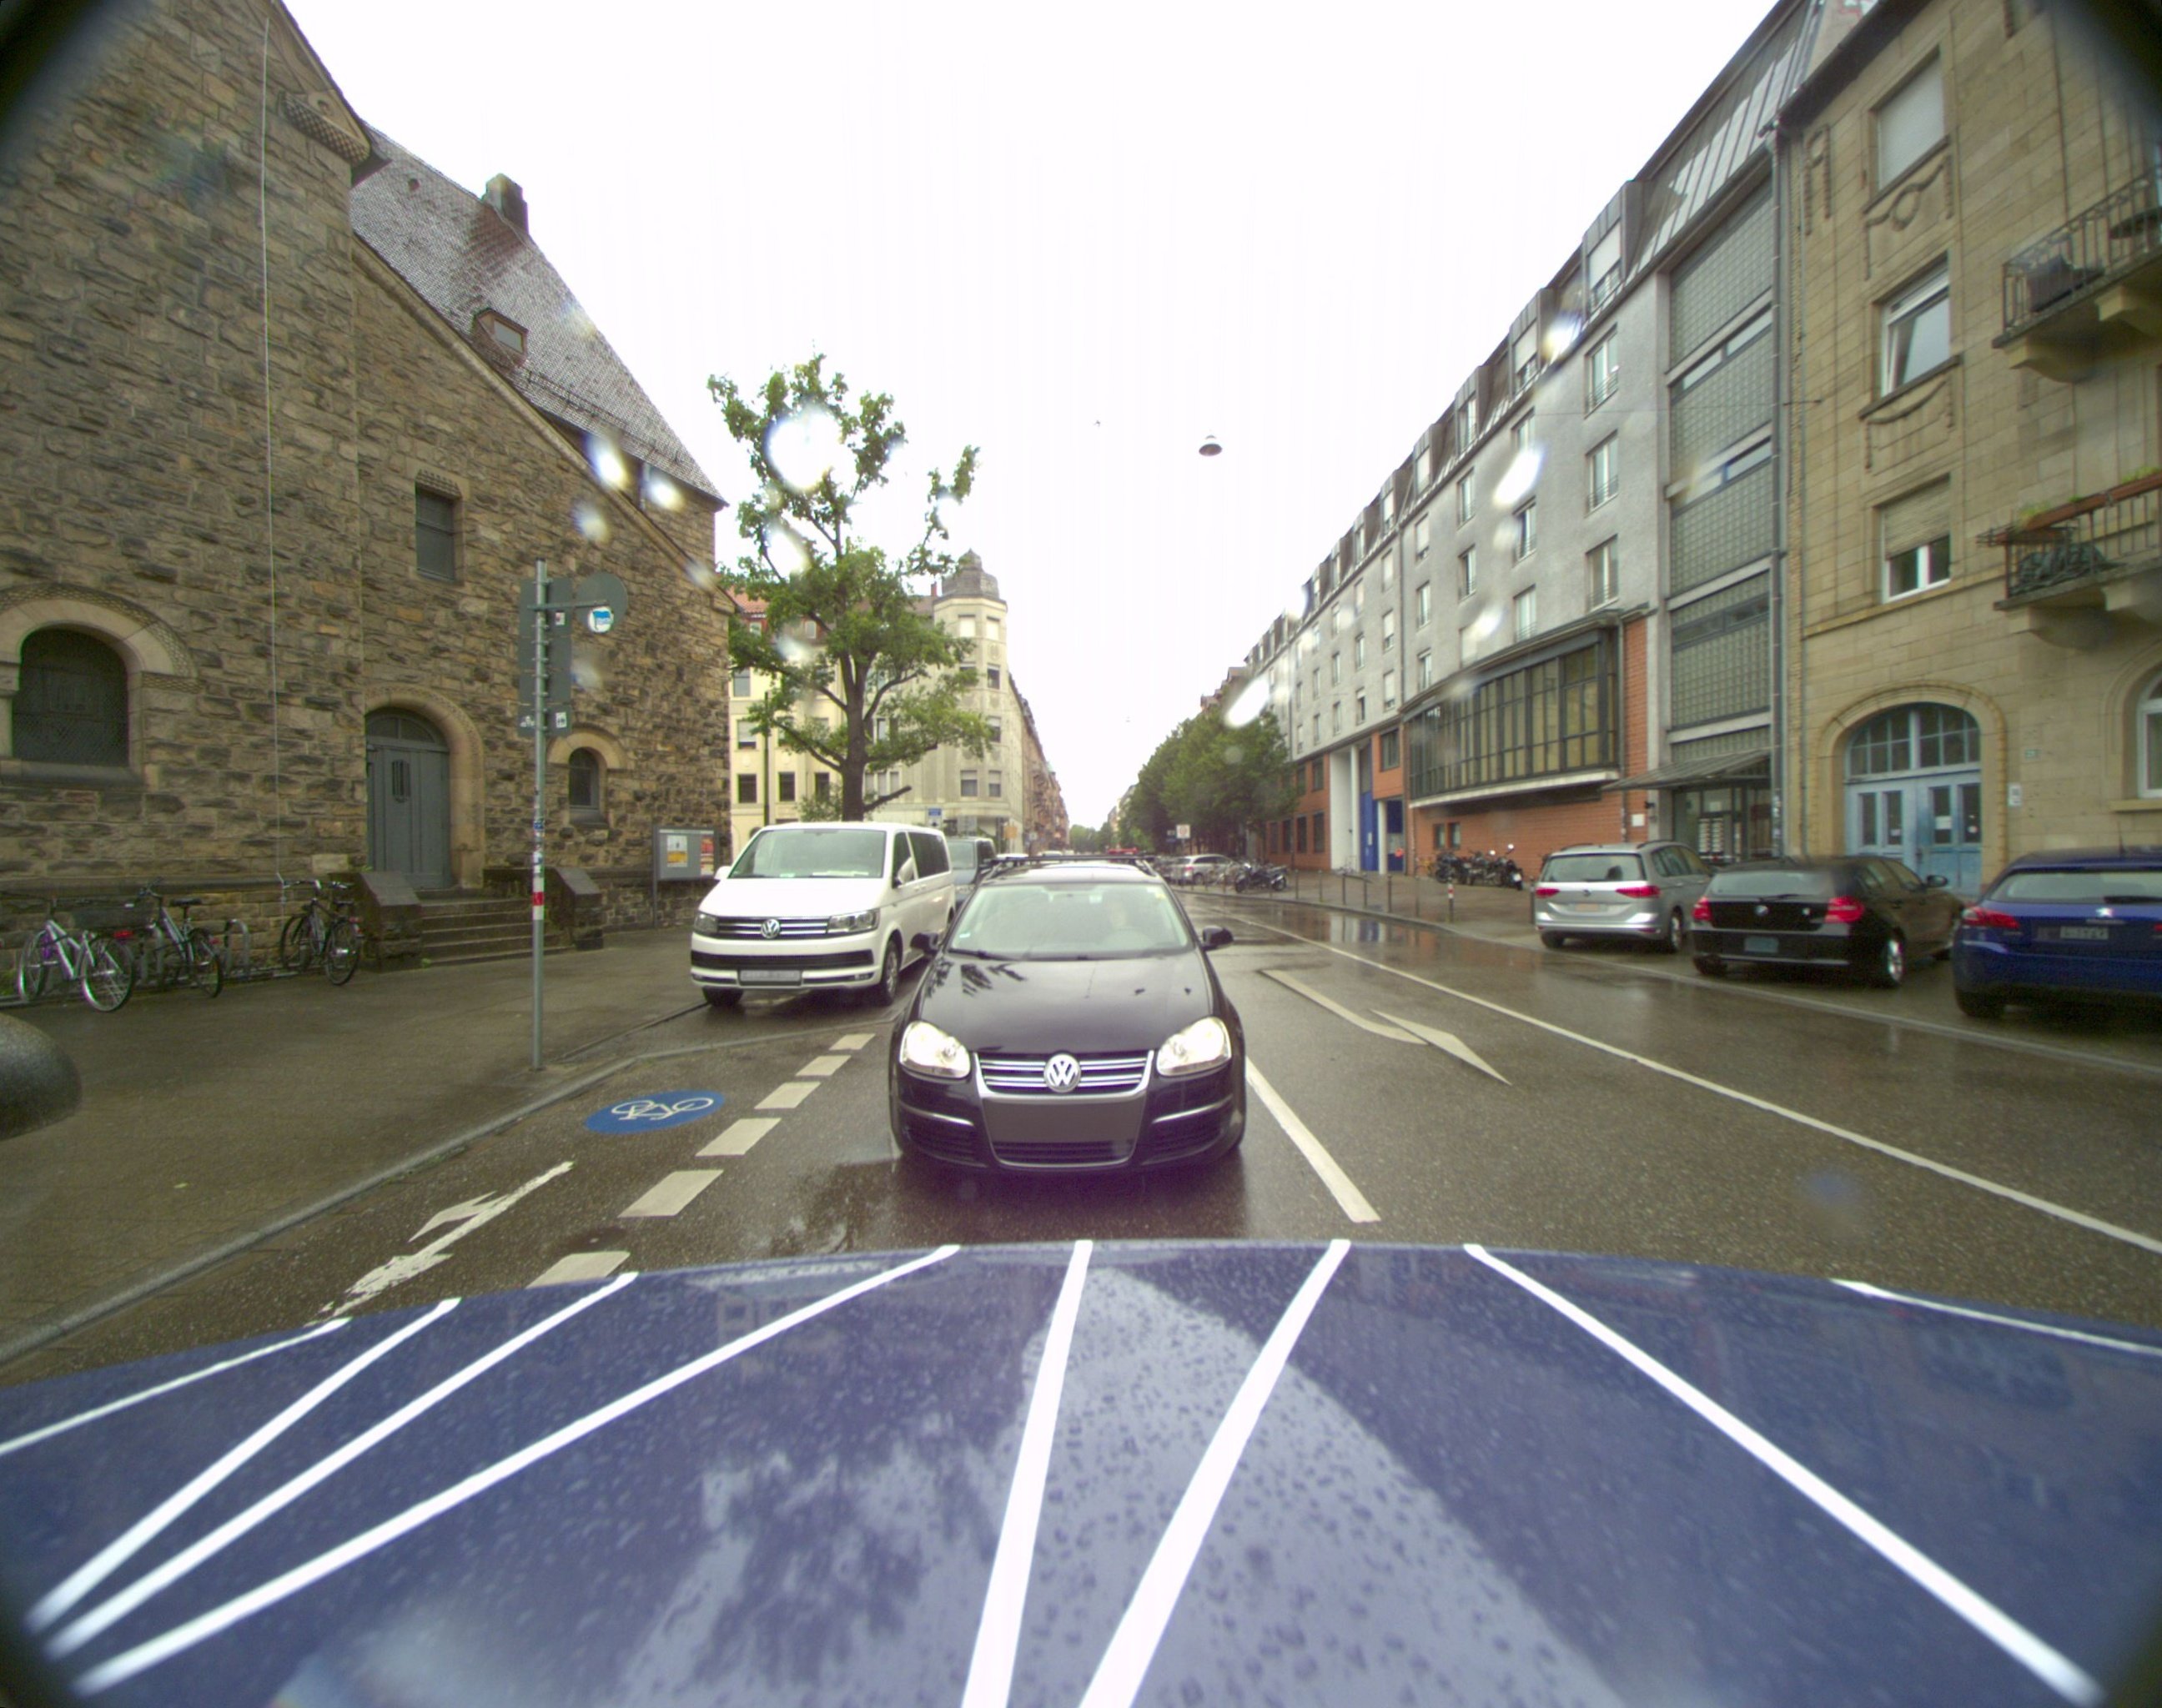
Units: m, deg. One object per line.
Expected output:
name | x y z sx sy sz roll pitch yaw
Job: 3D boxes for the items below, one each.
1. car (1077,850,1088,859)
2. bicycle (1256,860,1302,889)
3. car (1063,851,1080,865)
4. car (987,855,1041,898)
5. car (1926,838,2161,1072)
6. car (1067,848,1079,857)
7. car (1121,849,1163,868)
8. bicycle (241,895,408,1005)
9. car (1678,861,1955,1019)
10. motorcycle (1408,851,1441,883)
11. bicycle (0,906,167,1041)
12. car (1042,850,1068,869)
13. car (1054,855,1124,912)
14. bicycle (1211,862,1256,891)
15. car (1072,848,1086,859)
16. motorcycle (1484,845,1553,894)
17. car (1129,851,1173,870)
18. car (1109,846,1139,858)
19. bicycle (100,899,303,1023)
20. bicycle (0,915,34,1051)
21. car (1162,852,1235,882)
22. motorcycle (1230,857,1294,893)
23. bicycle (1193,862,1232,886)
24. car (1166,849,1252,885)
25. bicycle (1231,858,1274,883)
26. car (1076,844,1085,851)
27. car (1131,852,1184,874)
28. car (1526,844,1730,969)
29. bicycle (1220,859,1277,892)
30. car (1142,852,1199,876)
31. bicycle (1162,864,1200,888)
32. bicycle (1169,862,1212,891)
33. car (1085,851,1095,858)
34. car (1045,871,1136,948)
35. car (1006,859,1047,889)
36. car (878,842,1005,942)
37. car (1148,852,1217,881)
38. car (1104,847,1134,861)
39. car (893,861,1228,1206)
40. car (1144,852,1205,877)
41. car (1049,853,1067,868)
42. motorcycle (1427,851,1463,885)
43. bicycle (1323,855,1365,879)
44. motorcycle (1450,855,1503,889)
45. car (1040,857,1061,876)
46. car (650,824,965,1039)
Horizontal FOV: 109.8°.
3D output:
car | 0.344 0.080 160.651 1.998 1.705 4.376 0 0 5
bicycle | 8.138 0.841 31.264 1.688 1.067 0.544 -3 1 -2
car | -1.122 0.444 90.476 1.998 1.576 4.000 0 0 1
car | -2.502 0.805 29.125 1.674 1.540 3.918 0 0 1
car | 9.328 0.715 6.625 3.732 1.519 1.897 -4 2 -30
car | -1.440 -0.231 139.209 1.998 1.705 3.803 0 0 5
car | 6.490 0.479 80.514 4.006 2.002 1.995 0 1 -28
bicycle | -8.485 1.032 8.512 1.978 1.060 0.607 0 1 23
car | 9.027 0.864 9.263 3.734 1.518 1.713 0 1 -34
motorcycle | 13.567 0.484 30.063 0.546 1.221 1.676 0 0 1
bicycle | -9.352 1.048 7.029 1.923 1.054 0.582 0 1 22
car | -2.070 0.451 61.542 1.921 1.470 4.221 0 0 1
car | 0.228 0.746 21.208 1.766 1.430 3.748 0 0 1
bicycle | 6.283 0.913 31.284 1.688 1.067 0.544 -3 1 -2
car | -0.317 -0.117 125.132 1.998 1.705 3.803 0 0 5
motorcycle | 13.448 0.448 23.455 0.777 1.454 2.362 0 0 1
car | 6.580 0.597 72.080 3.803 1.705 1.904 0 0 -10
car | 6.168 -0.232 108.274 3.809 1.705 1.995 0 1 -33
bicycle | -8.908 1.023 7.686 2.150 1.054 0.679 0 1 22
bicycle | -9.584 1.048 6.319 1.923 1.054 0.582 0 1 22
car | 6.792 0.732 44.163 3.803 1.705 1.998 0 0 -10
motorcycle | 6.986 0.806 29.349 2.255 1.302 0.758 -2 1 1
bicycle | 6.070 0.931 35.049 1.688 1.067 0.544 -1 1 -2
car | 6.633 0.649 39.447 4.005 1.804 1.996 0 1 -26
bicycle | 7.219 0.687 32.038 1.688 1.067 0.544 0 1 -2
car | -0.184 -1.597 183.677 1.837 1.827 4.001 0 0 5
car | 6.003 0.714 60.138 3.803 1.705 1.998 0 0 -10
car | 8.963 0.710 12.343 3.931 1.719 1.811 0 1 -41
bicycle | 6.681 0.862 30.320 2.049 1.165 0.773 -3 1 -2
car | 6.587 0.735 56.247 3.803 1.705 1.998 0 0 -10
bicycle | 4.746 1.022 36.005 1.688 1.067 0.544 2 1 -2
bicycle | 4.723 0.955 32.803 1.688 1.067 0.544 -6 1 -2
car | 2.104 0.079 175.397 1.998 1.705 4.376 0 0 5
car | 0.186 0.991 14.802 1.547 1.214 3.608 0 0 1
car | -2.480 0.902 35.135 1.558 1.285 3.662 0 0 1
car | -2.773 0.693 16.064 1.837 1.835 4.295 0 0 1
car | 6.293 0.751 47.242 3.803 1.705 1.998 0 0 -10
car | 4.879 -0.012 97.848 3.799 1.705 2.000 0 0 1
car | -0.069 0.851 5.557 1.547 1.553 4.070 0 0 1
car | 6.463 0.725 52.828 3.803 1.705 1.998 0 0 -10
car | -1.972 0.536 65.791 1.356 1.285 3.013 0 0 1
motorcycle | 13.537 0.505 28.297 0.546 1.221 1.676 0 0 1
bicycle | 13.463 0.663 38.907 1.901 1.217 0.938 0 1 26
motorcycle | 13.537 0.596 26.084 0.599 1.095 2.362 0 0 1
car | -2.153 0.889 54.298 1.356 1.285 3.013 0 0 1
car | -2.827 0.680 9.370 1.909 1.911 5.272 0 0 1
